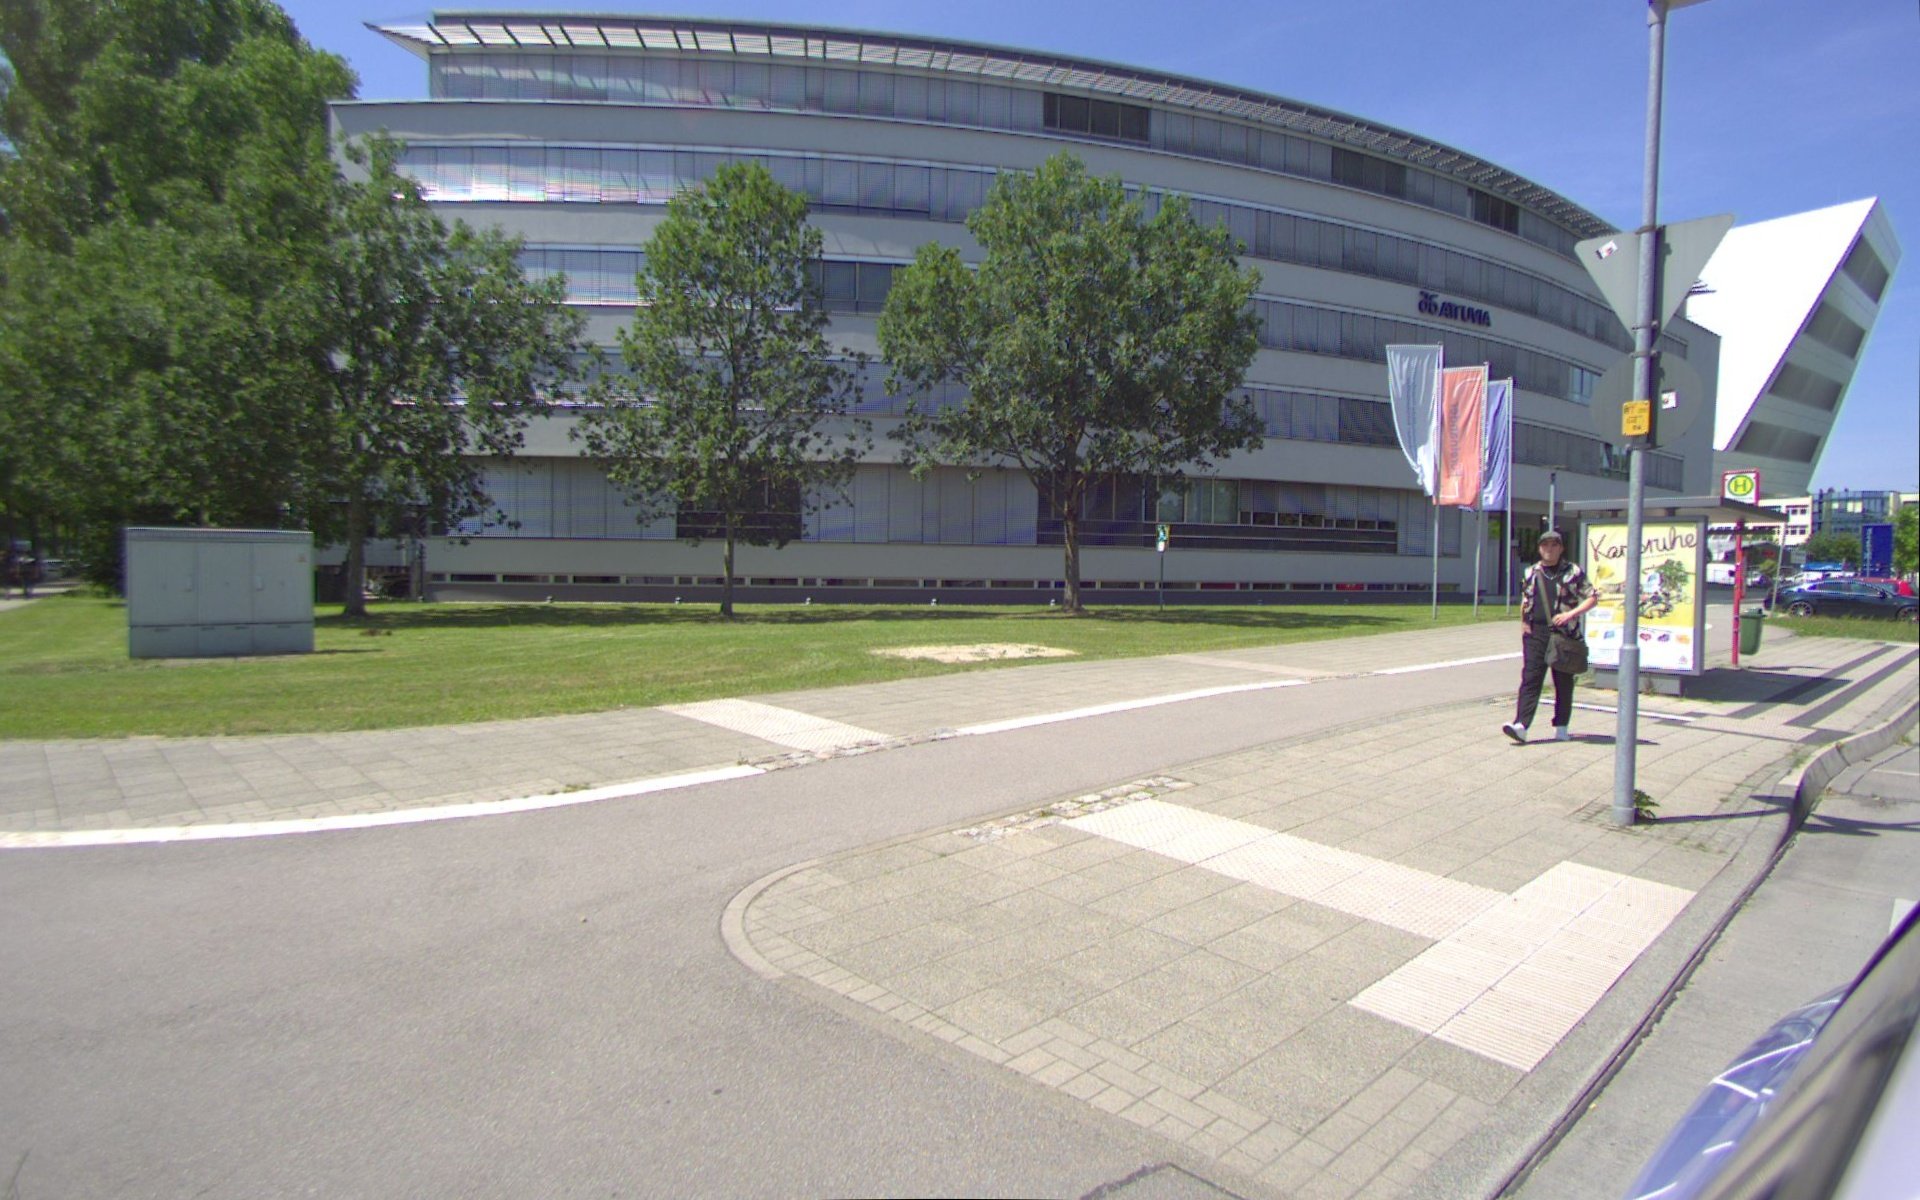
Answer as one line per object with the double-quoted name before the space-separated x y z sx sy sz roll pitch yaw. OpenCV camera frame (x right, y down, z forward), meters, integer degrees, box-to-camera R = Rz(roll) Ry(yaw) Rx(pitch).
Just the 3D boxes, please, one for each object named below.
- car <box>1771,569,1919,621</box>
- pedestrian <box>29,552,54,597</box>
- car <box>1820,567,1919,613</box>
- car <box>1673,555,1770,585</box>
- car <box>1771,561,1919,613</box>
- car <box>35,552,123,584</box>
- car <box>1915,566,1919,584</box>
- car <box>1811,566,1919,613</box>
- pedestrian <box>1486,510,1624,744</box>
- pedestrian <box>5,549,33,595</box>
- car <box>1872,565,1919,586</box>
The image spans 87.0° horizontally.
"car" 29.566 -0.184 33.067 4.571 1.449 1.798 5 5 45
"pedestrian" -33.560 -0.927 36.974 0.576 1.637 0.486 -1 1 -31
"car" 33.262 -0.368 36.025 1.627 1.504 3.815 -1 4 -41
"car" 71.592 -2.814 95.307 2.211 2.695 6.973 -1 1 -34
"car" 31.076 -0.500 35.360 1.807 1.675 3.995 -1 3 -41
"car" -57.896 -2.087 66.583 3.918 2.039 2.003 -1 1 -8
"car" 104.057 -2.662 107.051 1.672 2.000 4.208 -1 1 -37
"car" 34.809 -0.397 37.859 1.756 1.582 4.329 -1 4 -42
"pedestrian" 4.996 0.189 8.498 0.813 1.844 0.709 -1 4 -43
"pedestrian" -34.181 -1.017 36.754 0.561 1.628 0.645 -1 1 -28
"car" 98.718 -2.553 104.518 2.125 2.176 6.498 -1 2 -36
